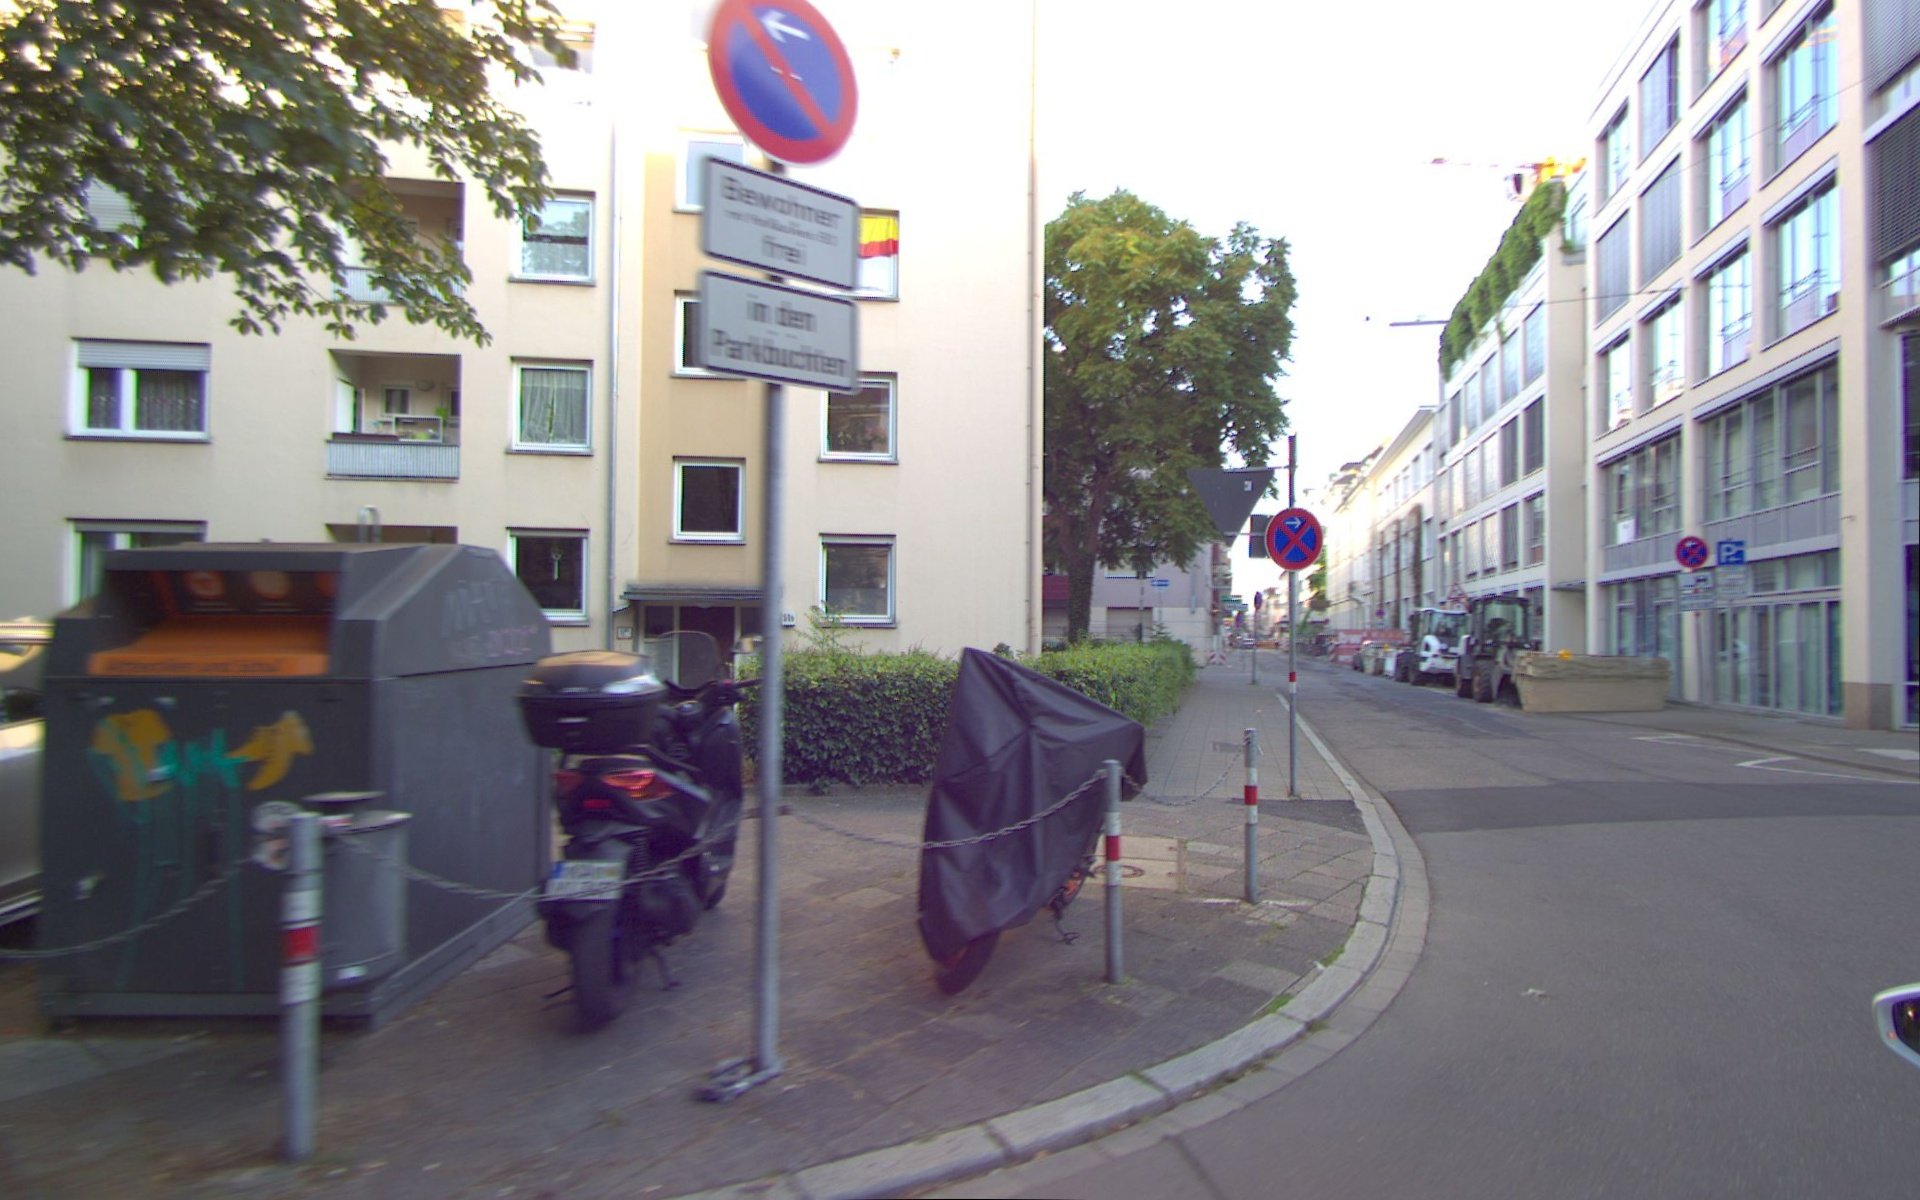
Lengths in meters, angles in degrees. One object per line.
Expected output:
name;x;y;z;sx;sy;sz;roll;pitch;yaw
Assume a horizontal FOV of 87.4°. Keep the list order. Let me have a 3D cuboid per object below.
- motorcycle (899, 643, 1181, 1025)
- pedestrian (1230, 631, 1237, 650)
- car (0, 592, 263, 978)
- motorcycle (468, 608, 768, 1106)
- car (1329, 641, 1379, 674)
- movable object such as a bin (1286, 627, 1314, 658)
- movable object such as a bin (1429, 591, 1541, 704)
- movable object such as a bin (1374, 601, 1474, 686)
motorcycle;0.517;0.916;4.902;0.709;1.392;2.224;0;-2;23
pedestrian;26.894;3.982;98.779;0.643;1.911;0.574;0;-1;15
car;-4.988;0.772;3.736;2.017;1.602;4.508;1;0;-7
motorcycle;-1.261;0.820;4.212;0.678;1.513;2.223;1;-2;-6
car;18.832;2.710;48.153;1.665;1.424;4.482;1;-2;15
movable object such as a bin;35.543;4.406;105.155;2.428;3.172;4.299;1;-1;15
movable object such as a bin;13.386;1.191;25.853;1.766;2.669;4.113;0;-2;16
movable object such as a bin;15.692;1.469;34.262;2.129;2.630;5.547;0;-2;14
